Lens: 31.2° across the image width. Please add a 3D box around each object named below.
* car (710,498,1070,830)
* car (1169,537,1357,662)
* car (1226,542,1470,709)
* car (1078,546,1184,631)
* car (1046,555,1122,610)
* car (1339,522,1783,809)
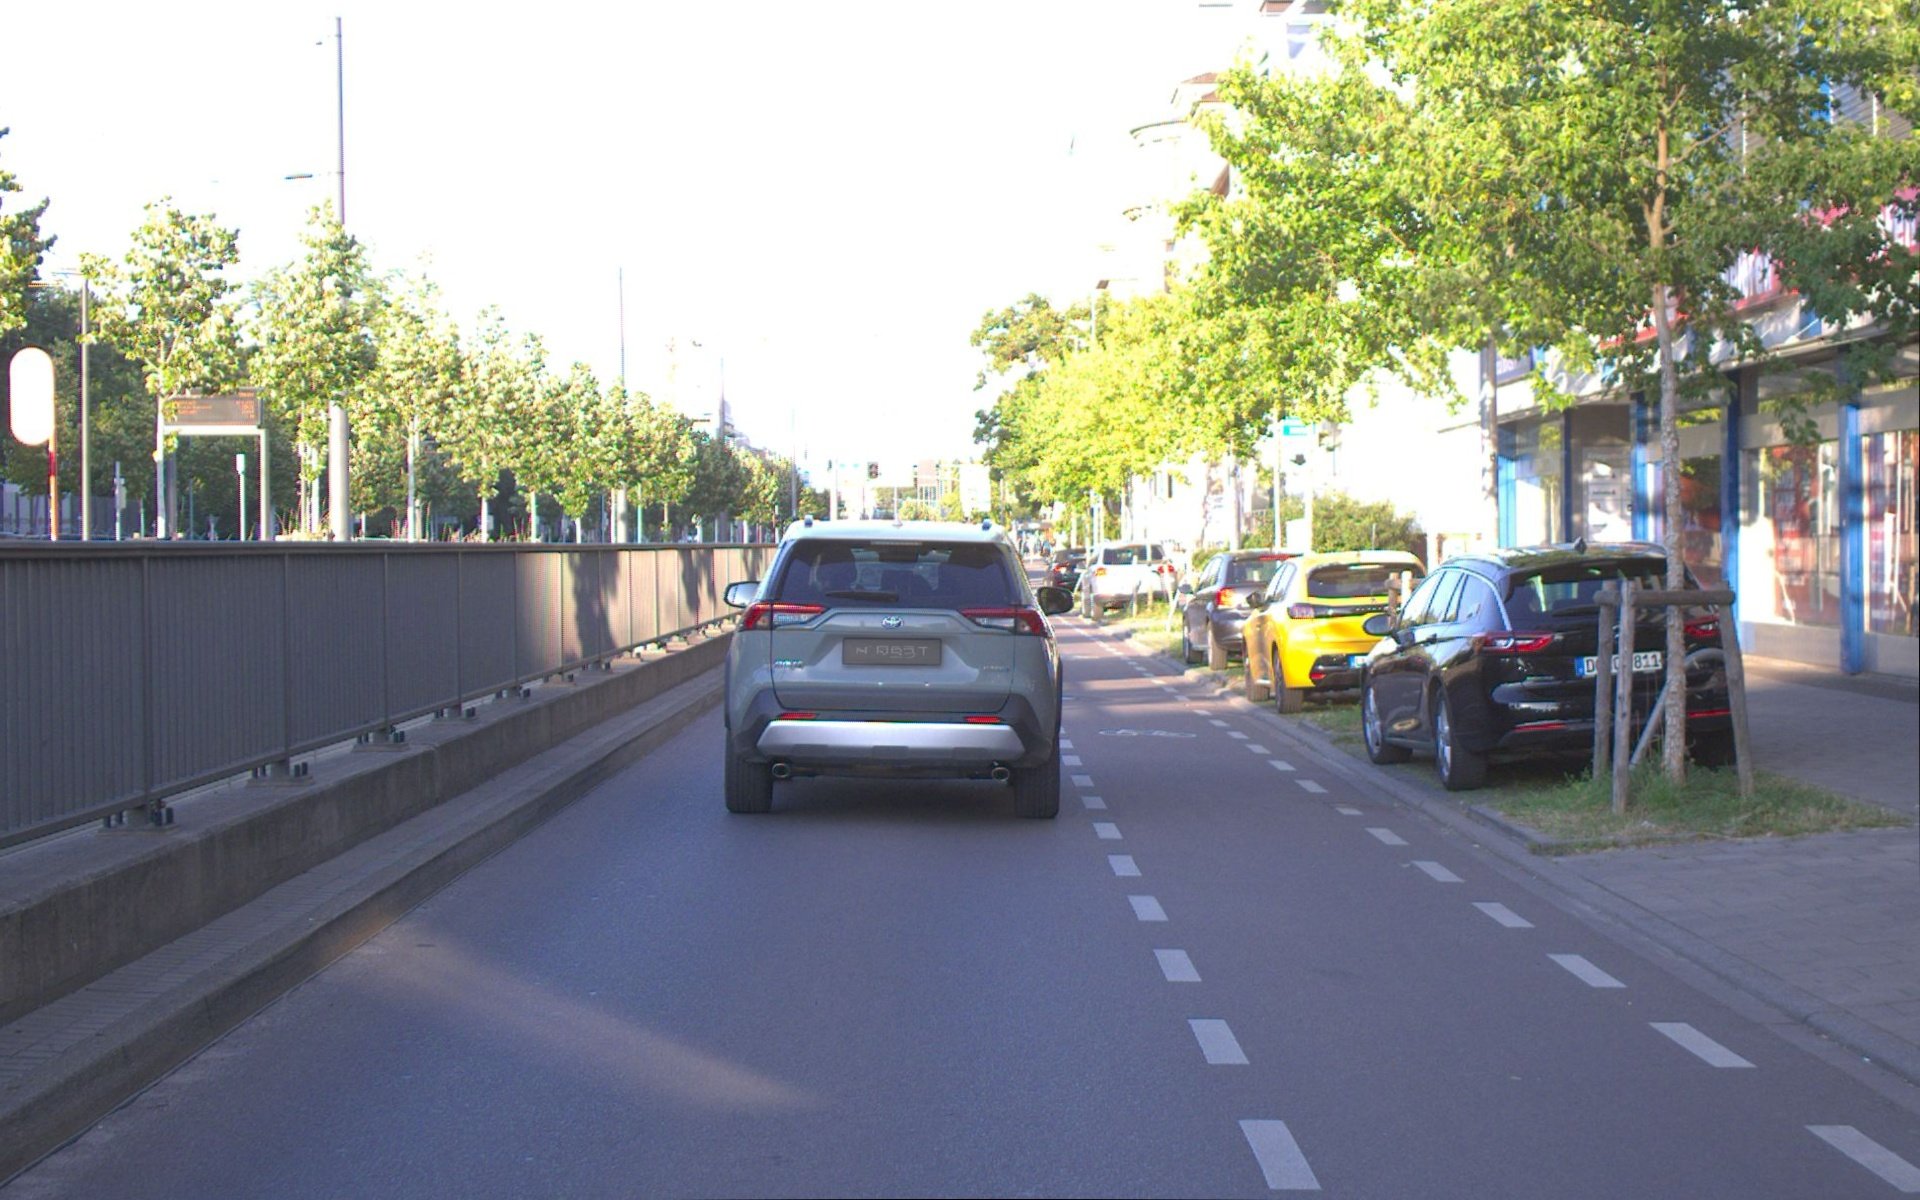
[{"bbox_3d":[-0.440,0.312,20.210,1.857,1.708,4.193,1,1,-2],"label":"car"},{"bbox_3d":[3.734,-0.034,42.948,1.819,1.449,4.129,-1,1,-2],"label":"car"},{"bbox_3d":[3.621,0.198,32.697,1.683,1.449,4.130,-1,1,-2],"label":"car"},{"bbox_3d":[3.564,-0.272,72.190,1.854,1.701,4.254,0,1,-2],"label":"car"},{"bbox_3d":[3.637,-0.527,101.619,1.792,1.466,4.446,-3,1,-3],"label":"car"},{"bbox_3d":[3.795,0.345,22.579,1.819,1.561,4.811,-4,1,-2],"label":"car"}]
